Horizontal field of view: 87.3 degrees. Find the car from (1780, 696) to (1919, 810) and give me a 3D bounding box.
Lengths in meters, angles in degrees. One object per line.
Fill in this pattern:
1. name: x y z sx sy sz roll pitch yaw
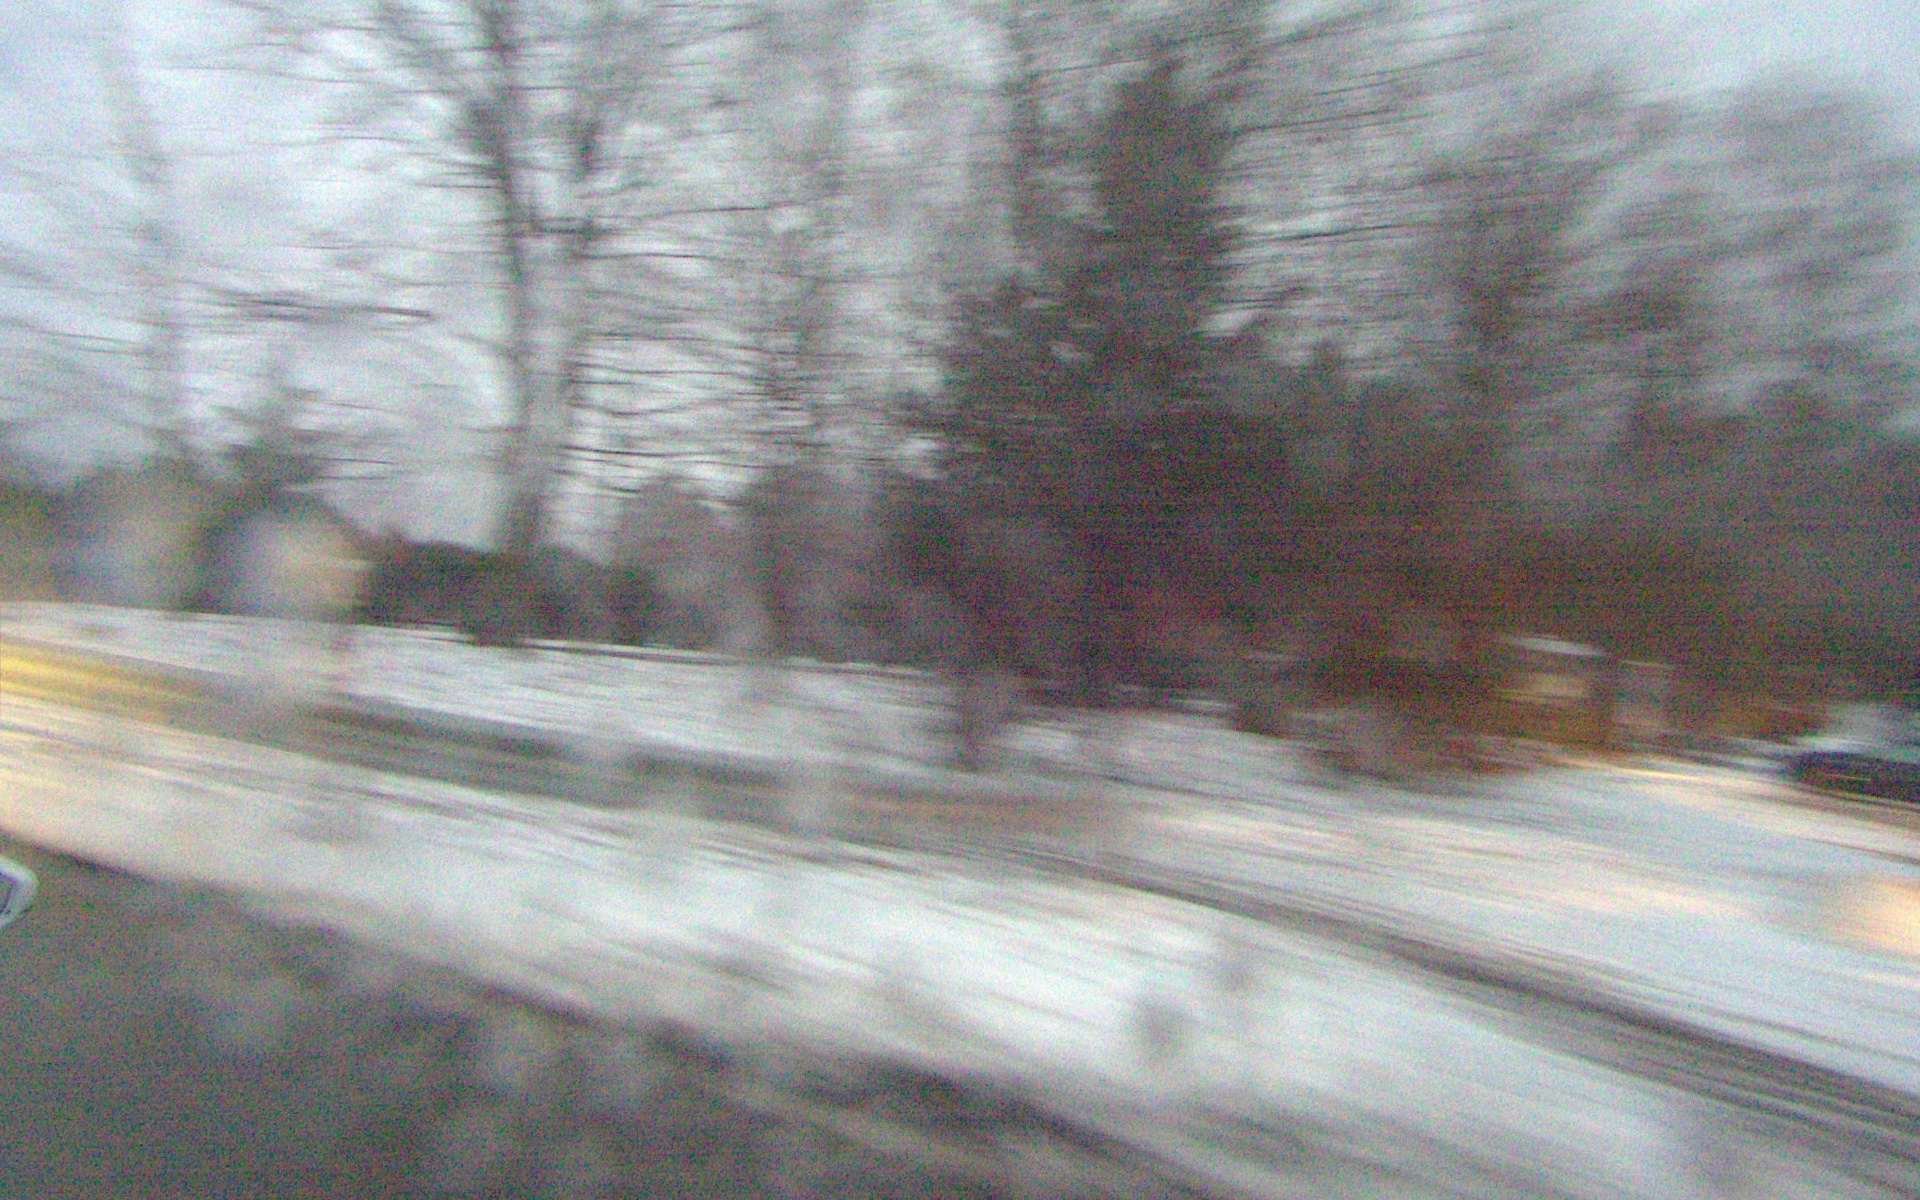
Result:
1. car: 19.366 3.255 20.530 3.903 1.903 1.993 8 -1 40
